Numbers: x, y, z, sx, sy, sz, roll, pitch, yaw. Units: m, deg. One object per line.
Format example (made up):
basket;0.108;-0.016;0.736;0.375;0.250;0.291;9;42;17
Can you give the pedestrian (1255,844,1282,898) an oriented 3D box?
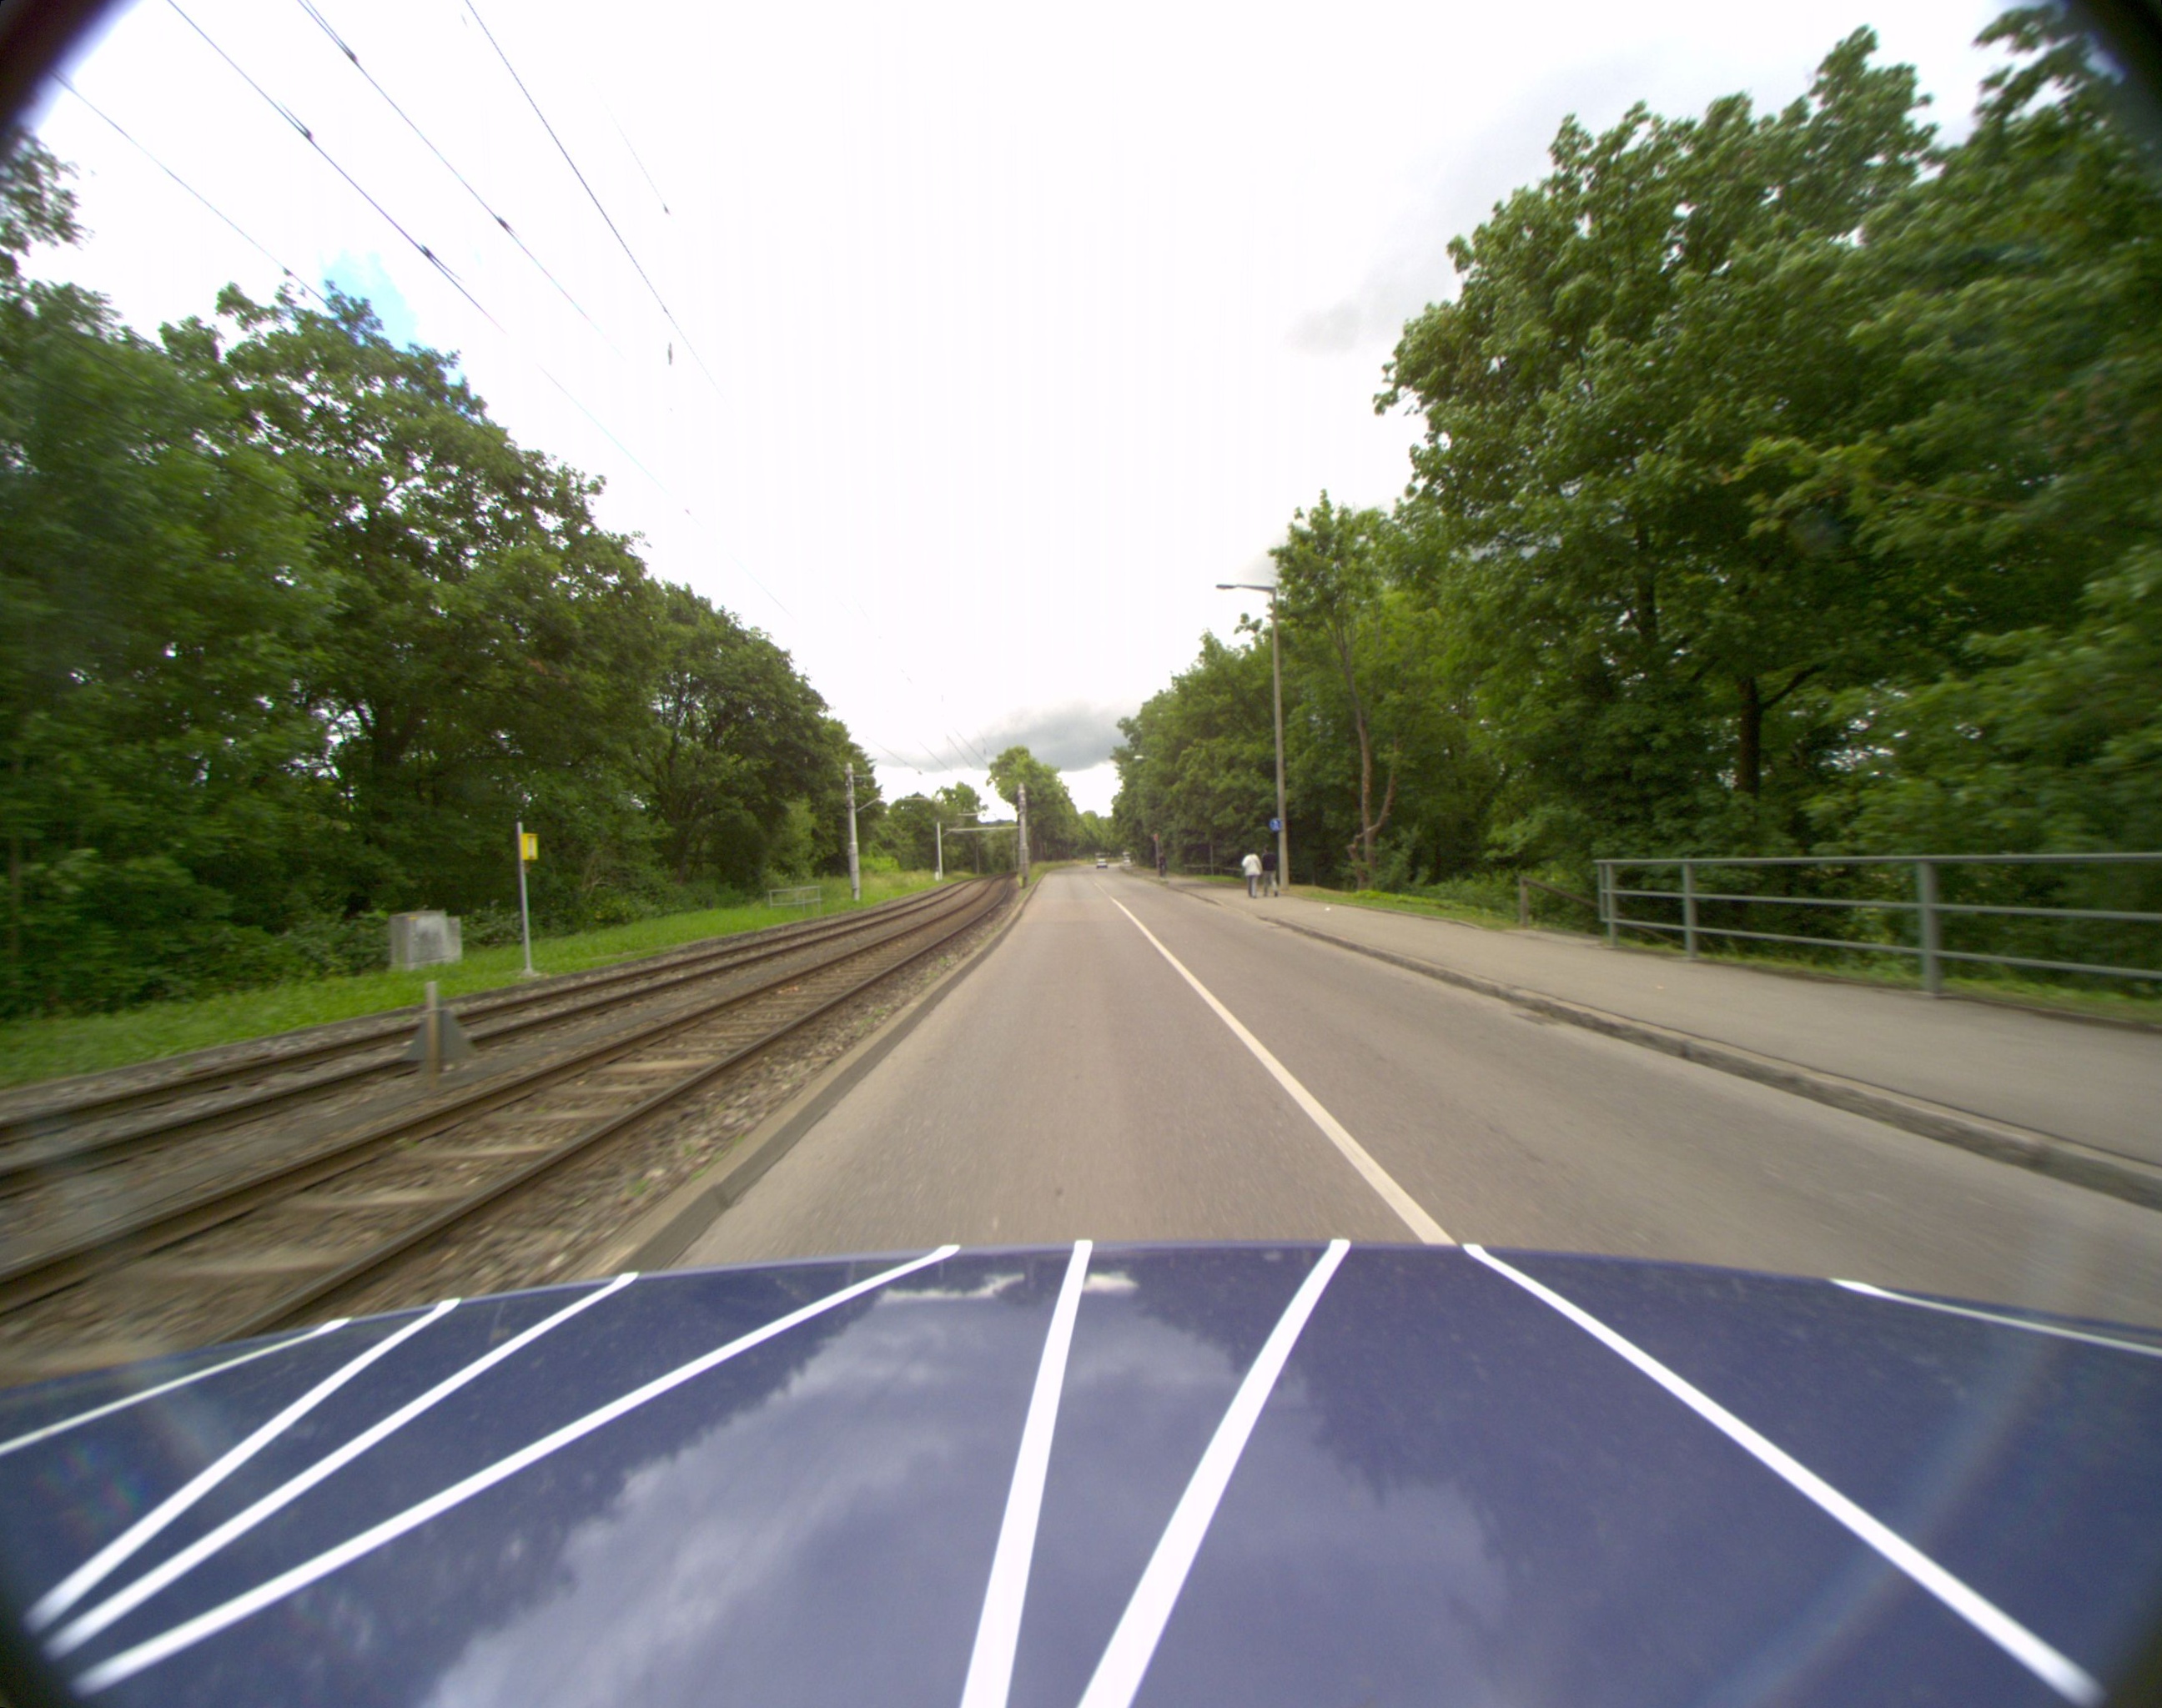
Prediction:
pedestrian;6.406;0.571;25.985;0.588;1.792;0.822;-4;0;-1

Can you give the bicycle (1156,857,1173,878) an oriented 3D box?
bicycle;5.845;0.925;53.443;0.700;1.324;2.279;-4;1;-4

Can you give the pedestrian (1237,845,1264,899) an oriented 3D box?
pedestrian;5.749;0.608;25.832;0.552;1.755;0.858;-6;0;-1

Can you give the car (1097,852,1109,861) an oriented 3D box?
car;3.645;0.371;125.250;1.799;1.483;4.180;0;0;-1

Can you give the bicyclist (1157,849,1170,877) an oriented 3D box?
bicyclist;5.823;0.650;53.642;0.688;1.936;0.835;-3;0;-4
